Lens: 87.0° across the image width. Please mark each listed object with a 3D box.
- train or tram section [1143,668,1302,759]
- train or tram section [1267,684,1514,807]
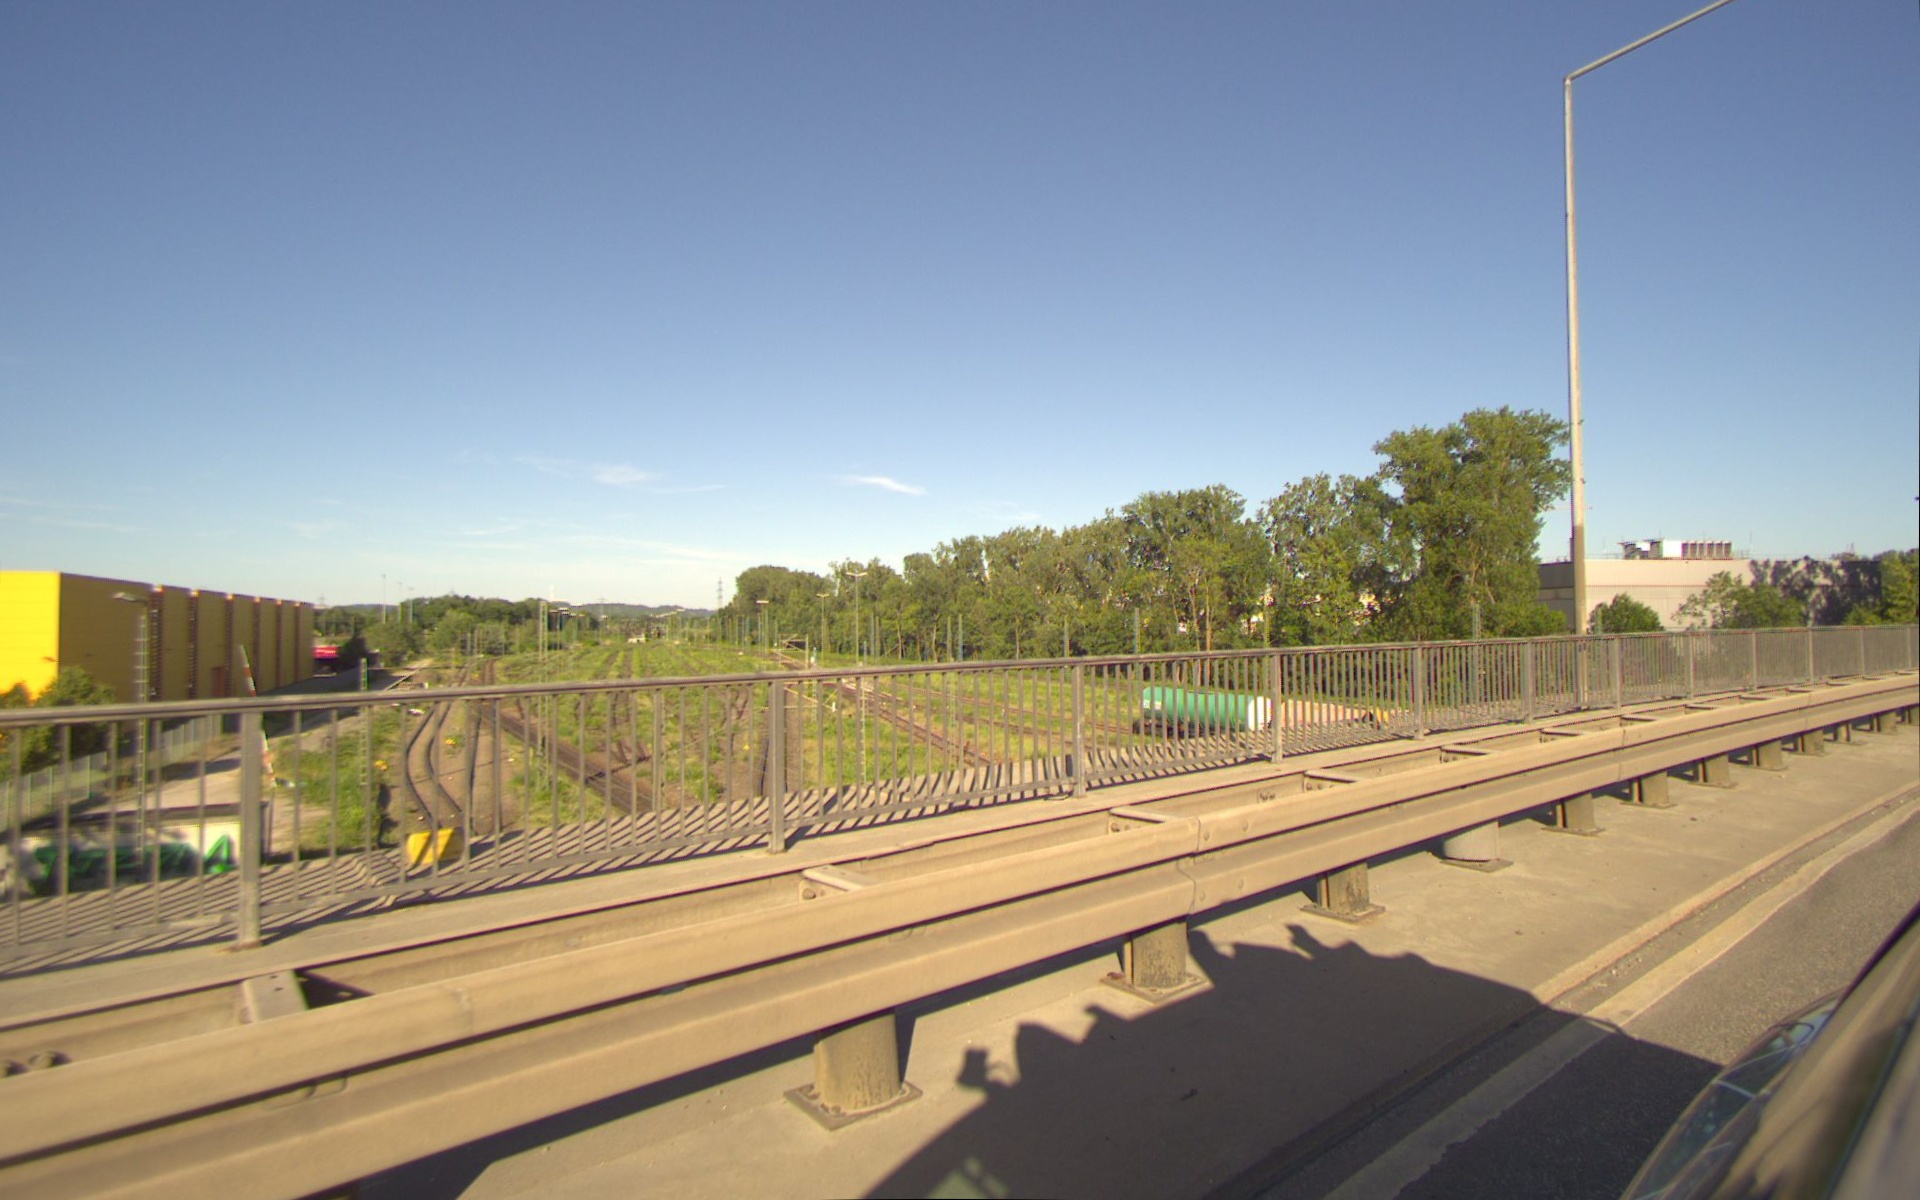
[{"bbox_3d":[20.313,8.642,80.266,3.267,5.248,15.207,0,1,-25],"label":"train or tram section"},{"bbox_3d":[27.029,8.918,65.615,3.267,5.327,16.912,0,1,-25],"label":"train or tram section"}]
